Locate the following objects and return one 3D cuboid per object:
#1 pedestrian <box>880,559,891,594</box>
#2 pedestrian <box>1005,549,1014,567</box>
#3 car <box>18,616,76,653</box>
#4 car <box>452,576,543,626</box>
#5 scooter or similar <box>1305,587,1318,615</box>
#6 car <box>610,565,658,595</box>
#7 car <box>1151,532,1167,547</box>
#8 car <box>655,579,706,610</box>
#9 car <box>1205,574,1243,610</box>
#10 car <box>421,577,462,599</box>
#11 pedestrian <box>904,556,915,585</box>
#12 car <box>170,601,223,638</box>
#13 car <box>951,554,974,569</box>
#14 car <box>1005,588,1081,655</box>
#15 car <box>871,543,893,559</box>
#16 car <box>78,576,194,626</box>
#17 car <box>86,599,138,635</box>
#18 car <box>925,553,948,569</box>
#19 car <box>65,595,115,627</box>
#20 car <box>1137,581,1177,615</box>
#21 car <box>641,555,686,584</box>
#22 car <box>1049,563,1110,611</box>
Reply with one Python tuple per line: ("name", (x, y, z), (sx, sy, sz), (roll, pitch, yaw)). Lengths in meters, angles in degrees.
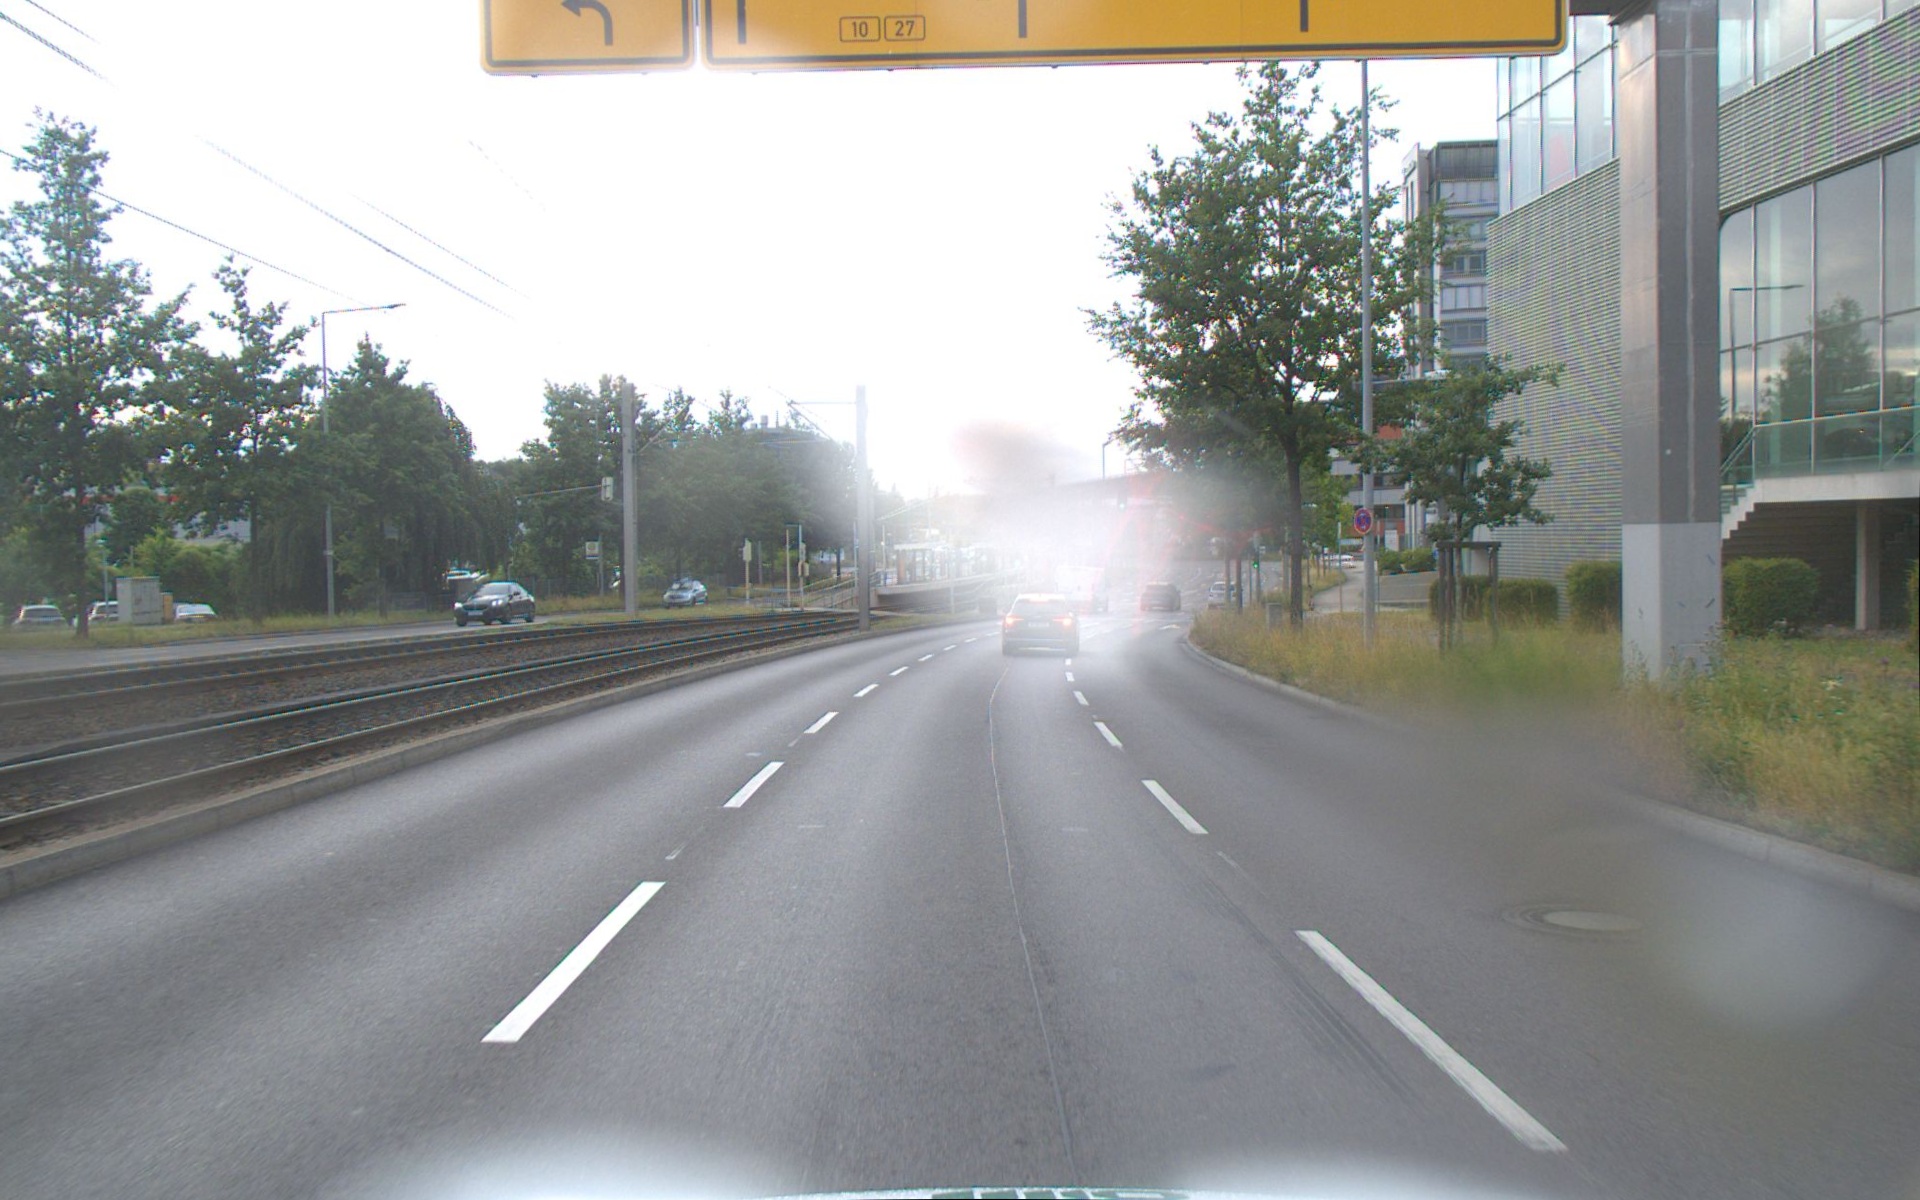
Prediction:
("pedestrian", (-4.335, -1.375, 95.992), (0.537, 1.987, 0.664), (1, -1, 6))
("pedestrian", (4.856, -4.107, 162.571), (0.736, 1.781, 0.764), (1, -1, 10))
("car", (-39.248, 1.467, 71.177), (1.728, 1.520, 3.971), (1, -1, -23))
("car", (-16.026, 0.019, 57.519), (1.844, 1.547, 4.403), (-4, 1, 0))
("scooter or similar", (16.958, 0.043, 79.809), (0.448, 1.285, 1.338), (-3, 0, 7))
("car", (-23.551, -1.424, 119.605), (1.951, 2.049, 4.003), (1, 0, 12))
("car", (31.174, -9.427, 258.675), (1.953, 2.049, 3.999), (0, -1, -1))
("car", (-16.135, -0.344, 95.707), (1.951, 1.709, 4.003), (1, 1, 5))
("car", (14.590, -0.441, 91.179), (1.978, 1.800, 4.005), (1, 3, 10))
("car", (-50.002, -1.135, 159.406), (3.925, 2.049, 1.990), (0, -1, 40))
("pedestrian", (-3.407, -1.996, 111.516), (0.623, 1.886, 0.751), (1, -1, 9))
("car", (-33.900, 0.865, 73.390), (1.970, 1.536, 3.964), (1, -1, -28))
("car", (0.288, -5.473, 235.536), (1.965, 2.049, 3.974), (1, -1, -21))
("car", (2.062, 0.482, 40.341), (1.727, 1.489, 4.629), (1, 0, 4))
("car", (-10.682, -6.717, 226.079), (1.965, 2.049, 3.974), (1, -1, -21))
("car", (-29.115, 0.056, 58.576), (1.952, 1.679, 4.001), (1, -1, 2))
("car", (-37.189, 0.760, 72.598), (1.728, 1.520, 3.971), (1, -1, -23))
("car", (-3.295, -5.552, 234.502), (1.965, 2.049, 3.974), (1, -1, -21))
("car", (-42.959, 0.544, 81.609), (1.973, 1.536, 3.958), (1, -1, -31))
("car", (10.365, -0.082, 86.880), (1.978, 1.651, 4.003), (1, -1, 9))
("car", (-22.365, -2.307, 124.811), (1.951, 2.049, 4.003), (1, 0, 12))
("car", (5.939, -0.598, 81.584), (2.457, 2.215, 5.153), (1, -1, 10))
